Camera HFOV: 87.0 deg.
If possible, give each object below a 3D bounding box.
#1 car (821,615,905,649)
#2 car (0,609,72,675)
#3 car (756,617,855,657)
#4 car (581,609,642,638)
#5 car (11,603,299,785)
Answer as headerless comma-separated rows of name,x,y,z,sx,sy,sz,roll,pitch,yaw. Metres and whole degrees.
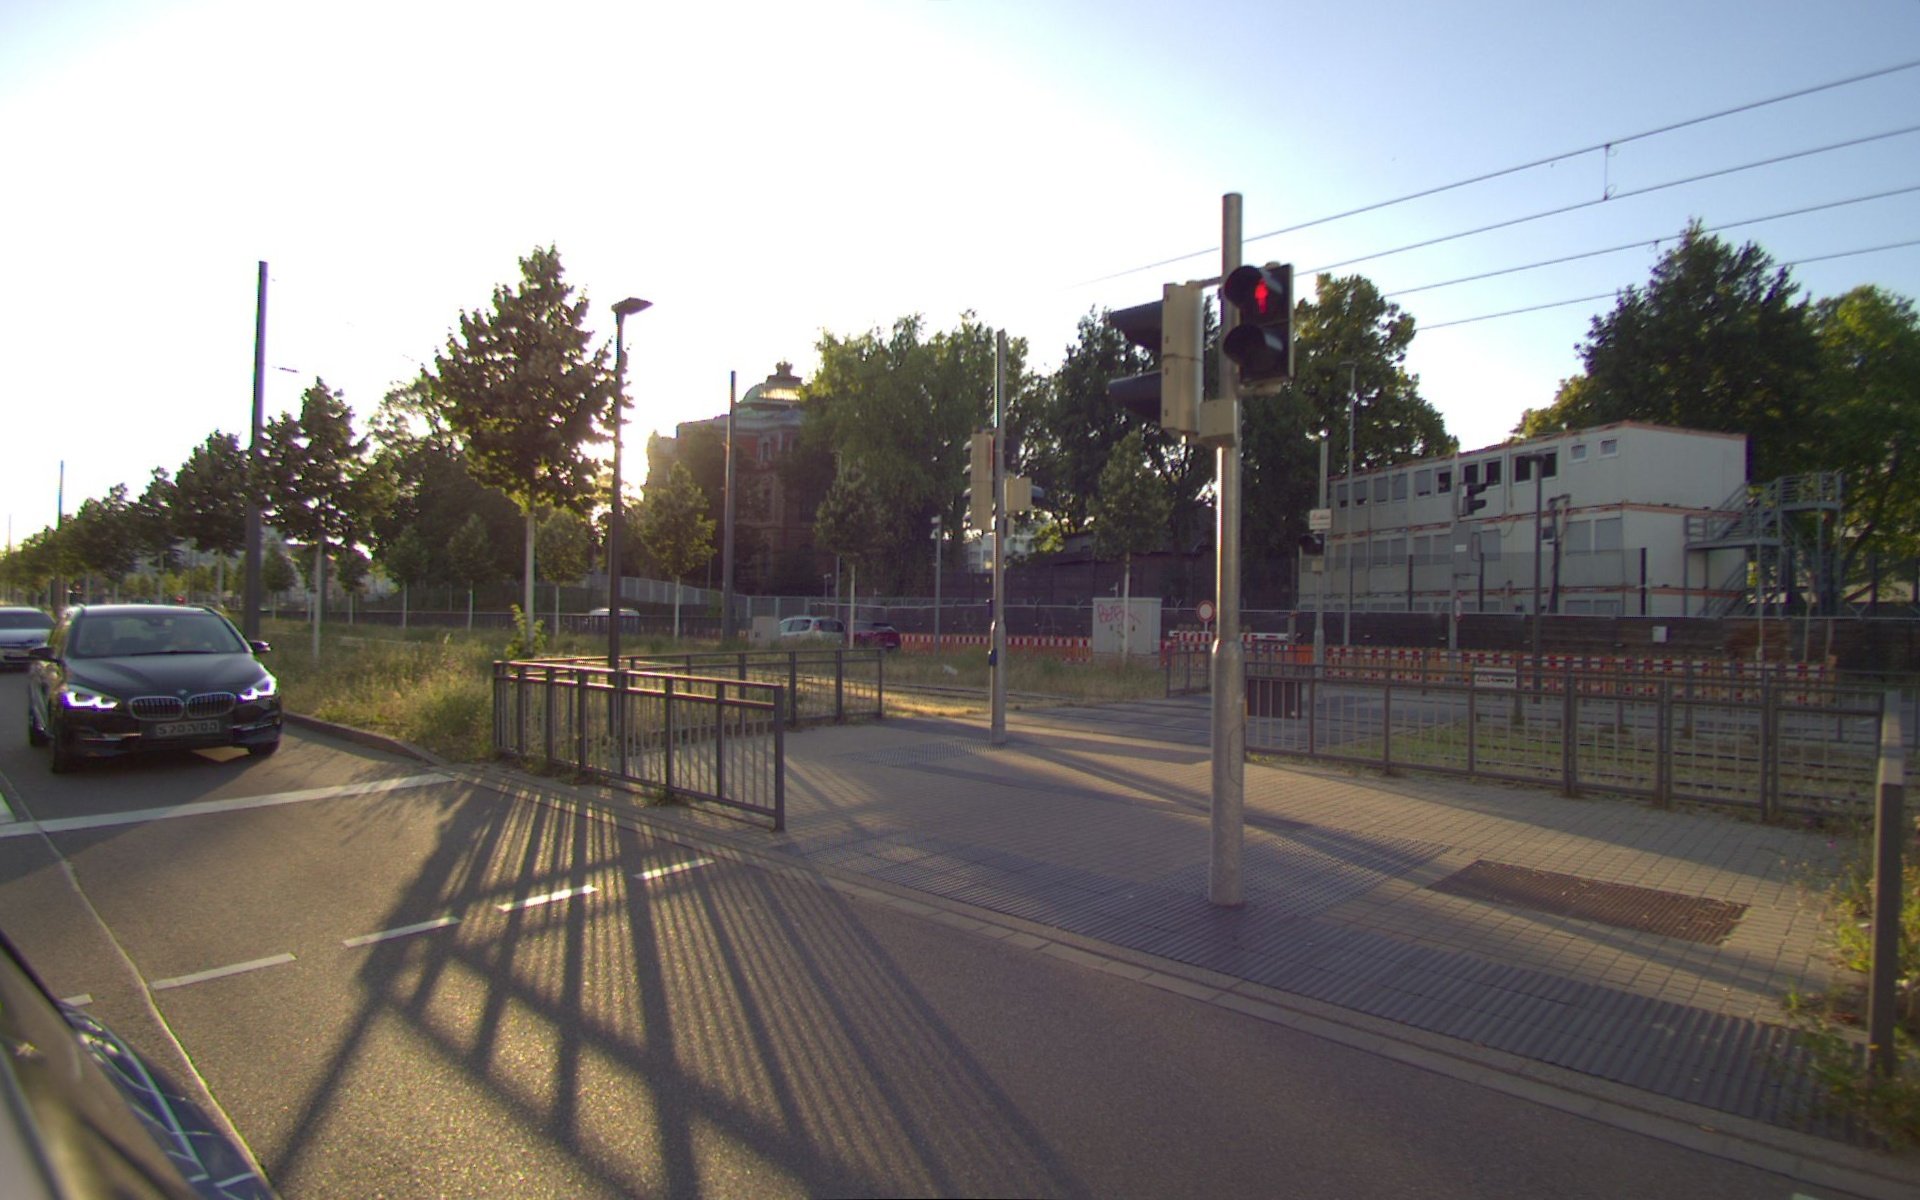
car,-4.200,1.336,43.396,1.672,1.380,3.697,-1,0,-43
car,-22.926,0.975,24.472,4.304,1.475,1.808,-1,0,44
car,-5.863,1.366,38.140,3.717,1.380,1.748,-1,0,42
car,-20.310,1.340,58.948,3.800,1.572,1.824,-1,0,43
car,-8.778,0.812,10.854,4.792,1.530,1.800,-1,-1,44
